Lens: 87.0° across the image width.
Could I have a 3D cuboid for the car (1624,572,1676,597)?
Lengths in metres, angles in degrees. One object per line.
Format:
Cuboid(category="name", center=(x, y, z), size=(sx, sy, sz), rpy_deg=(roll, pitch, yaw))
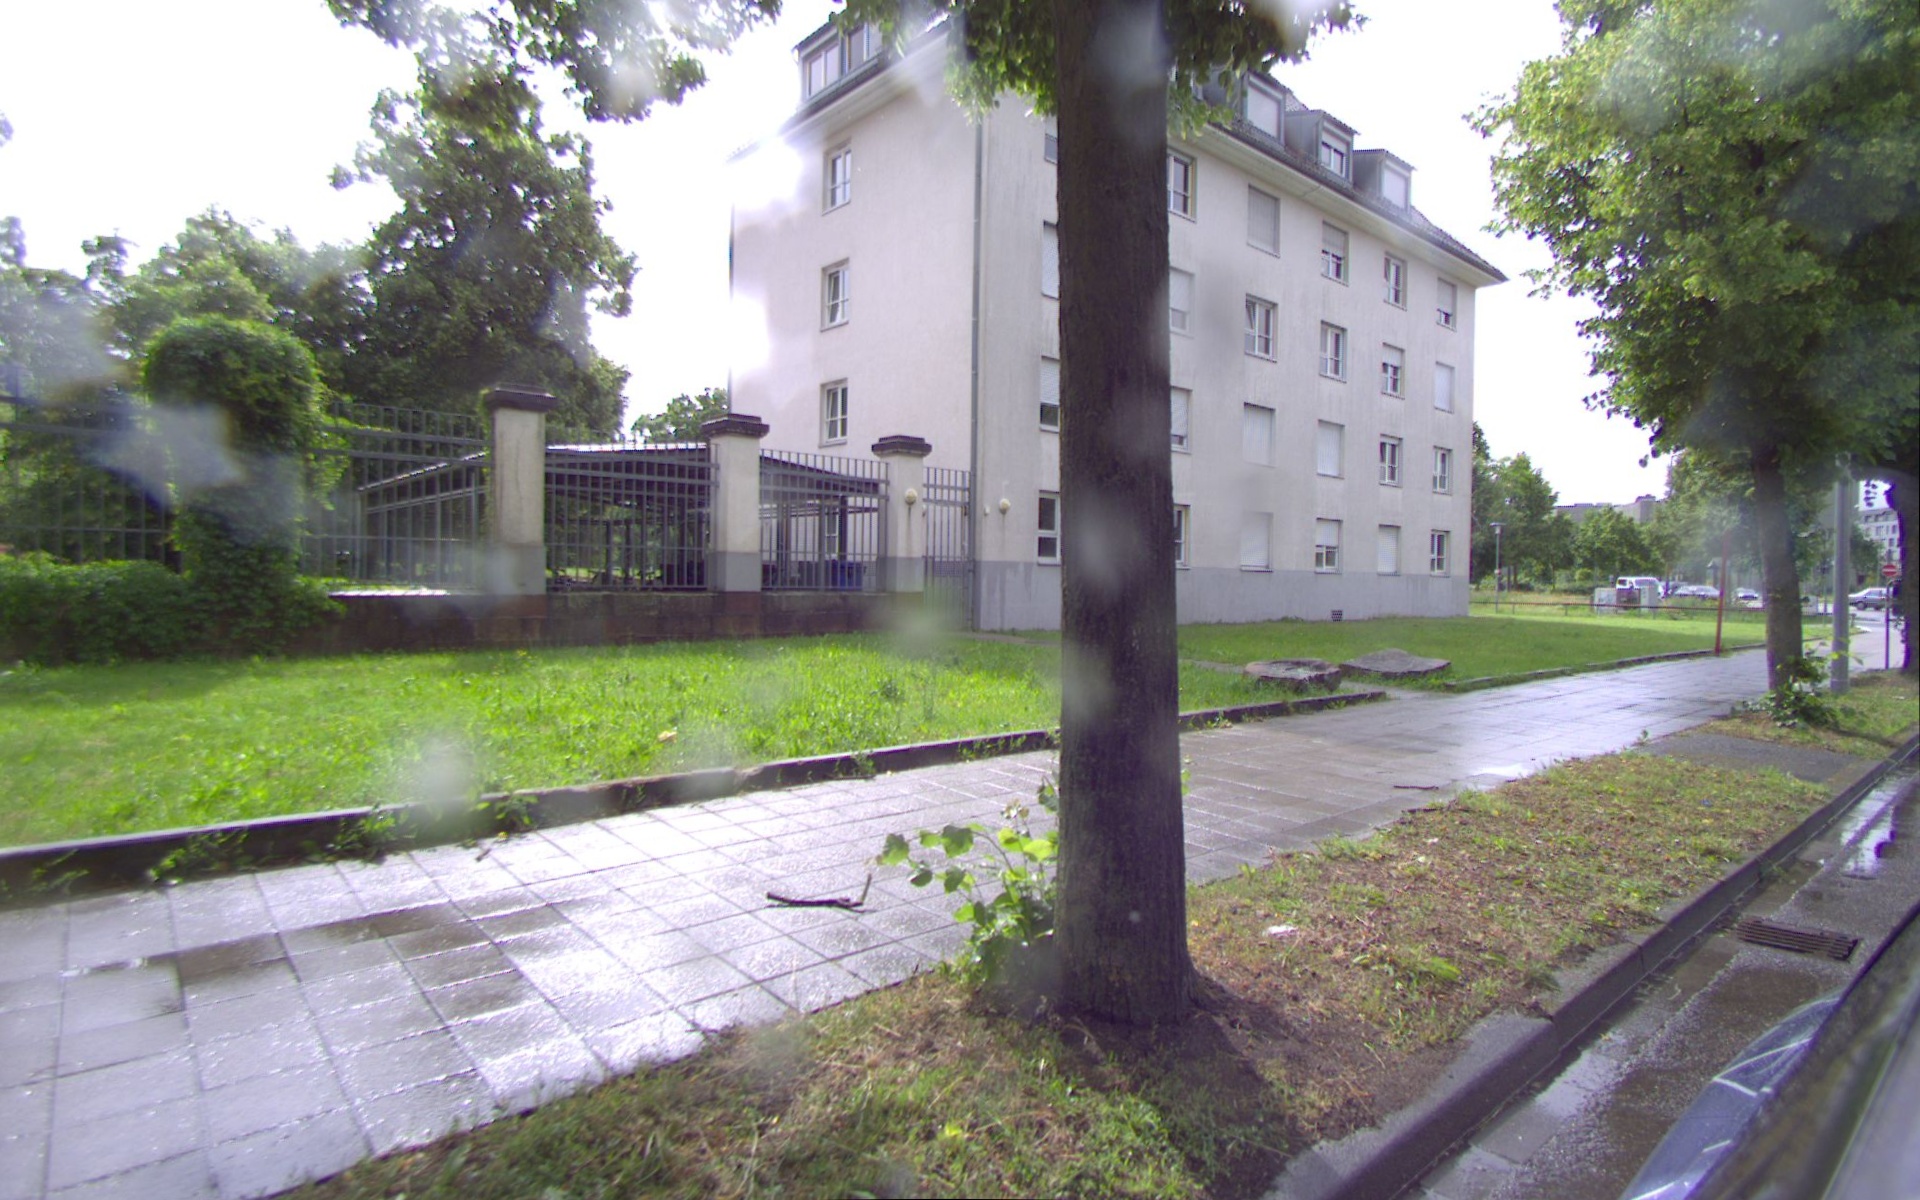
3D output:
Cuboid(category="car", center=(51.208, -1.192, 75.185), size=(1.866, 1.734, 4.210), rpy_deg=(2, 2, 15))
